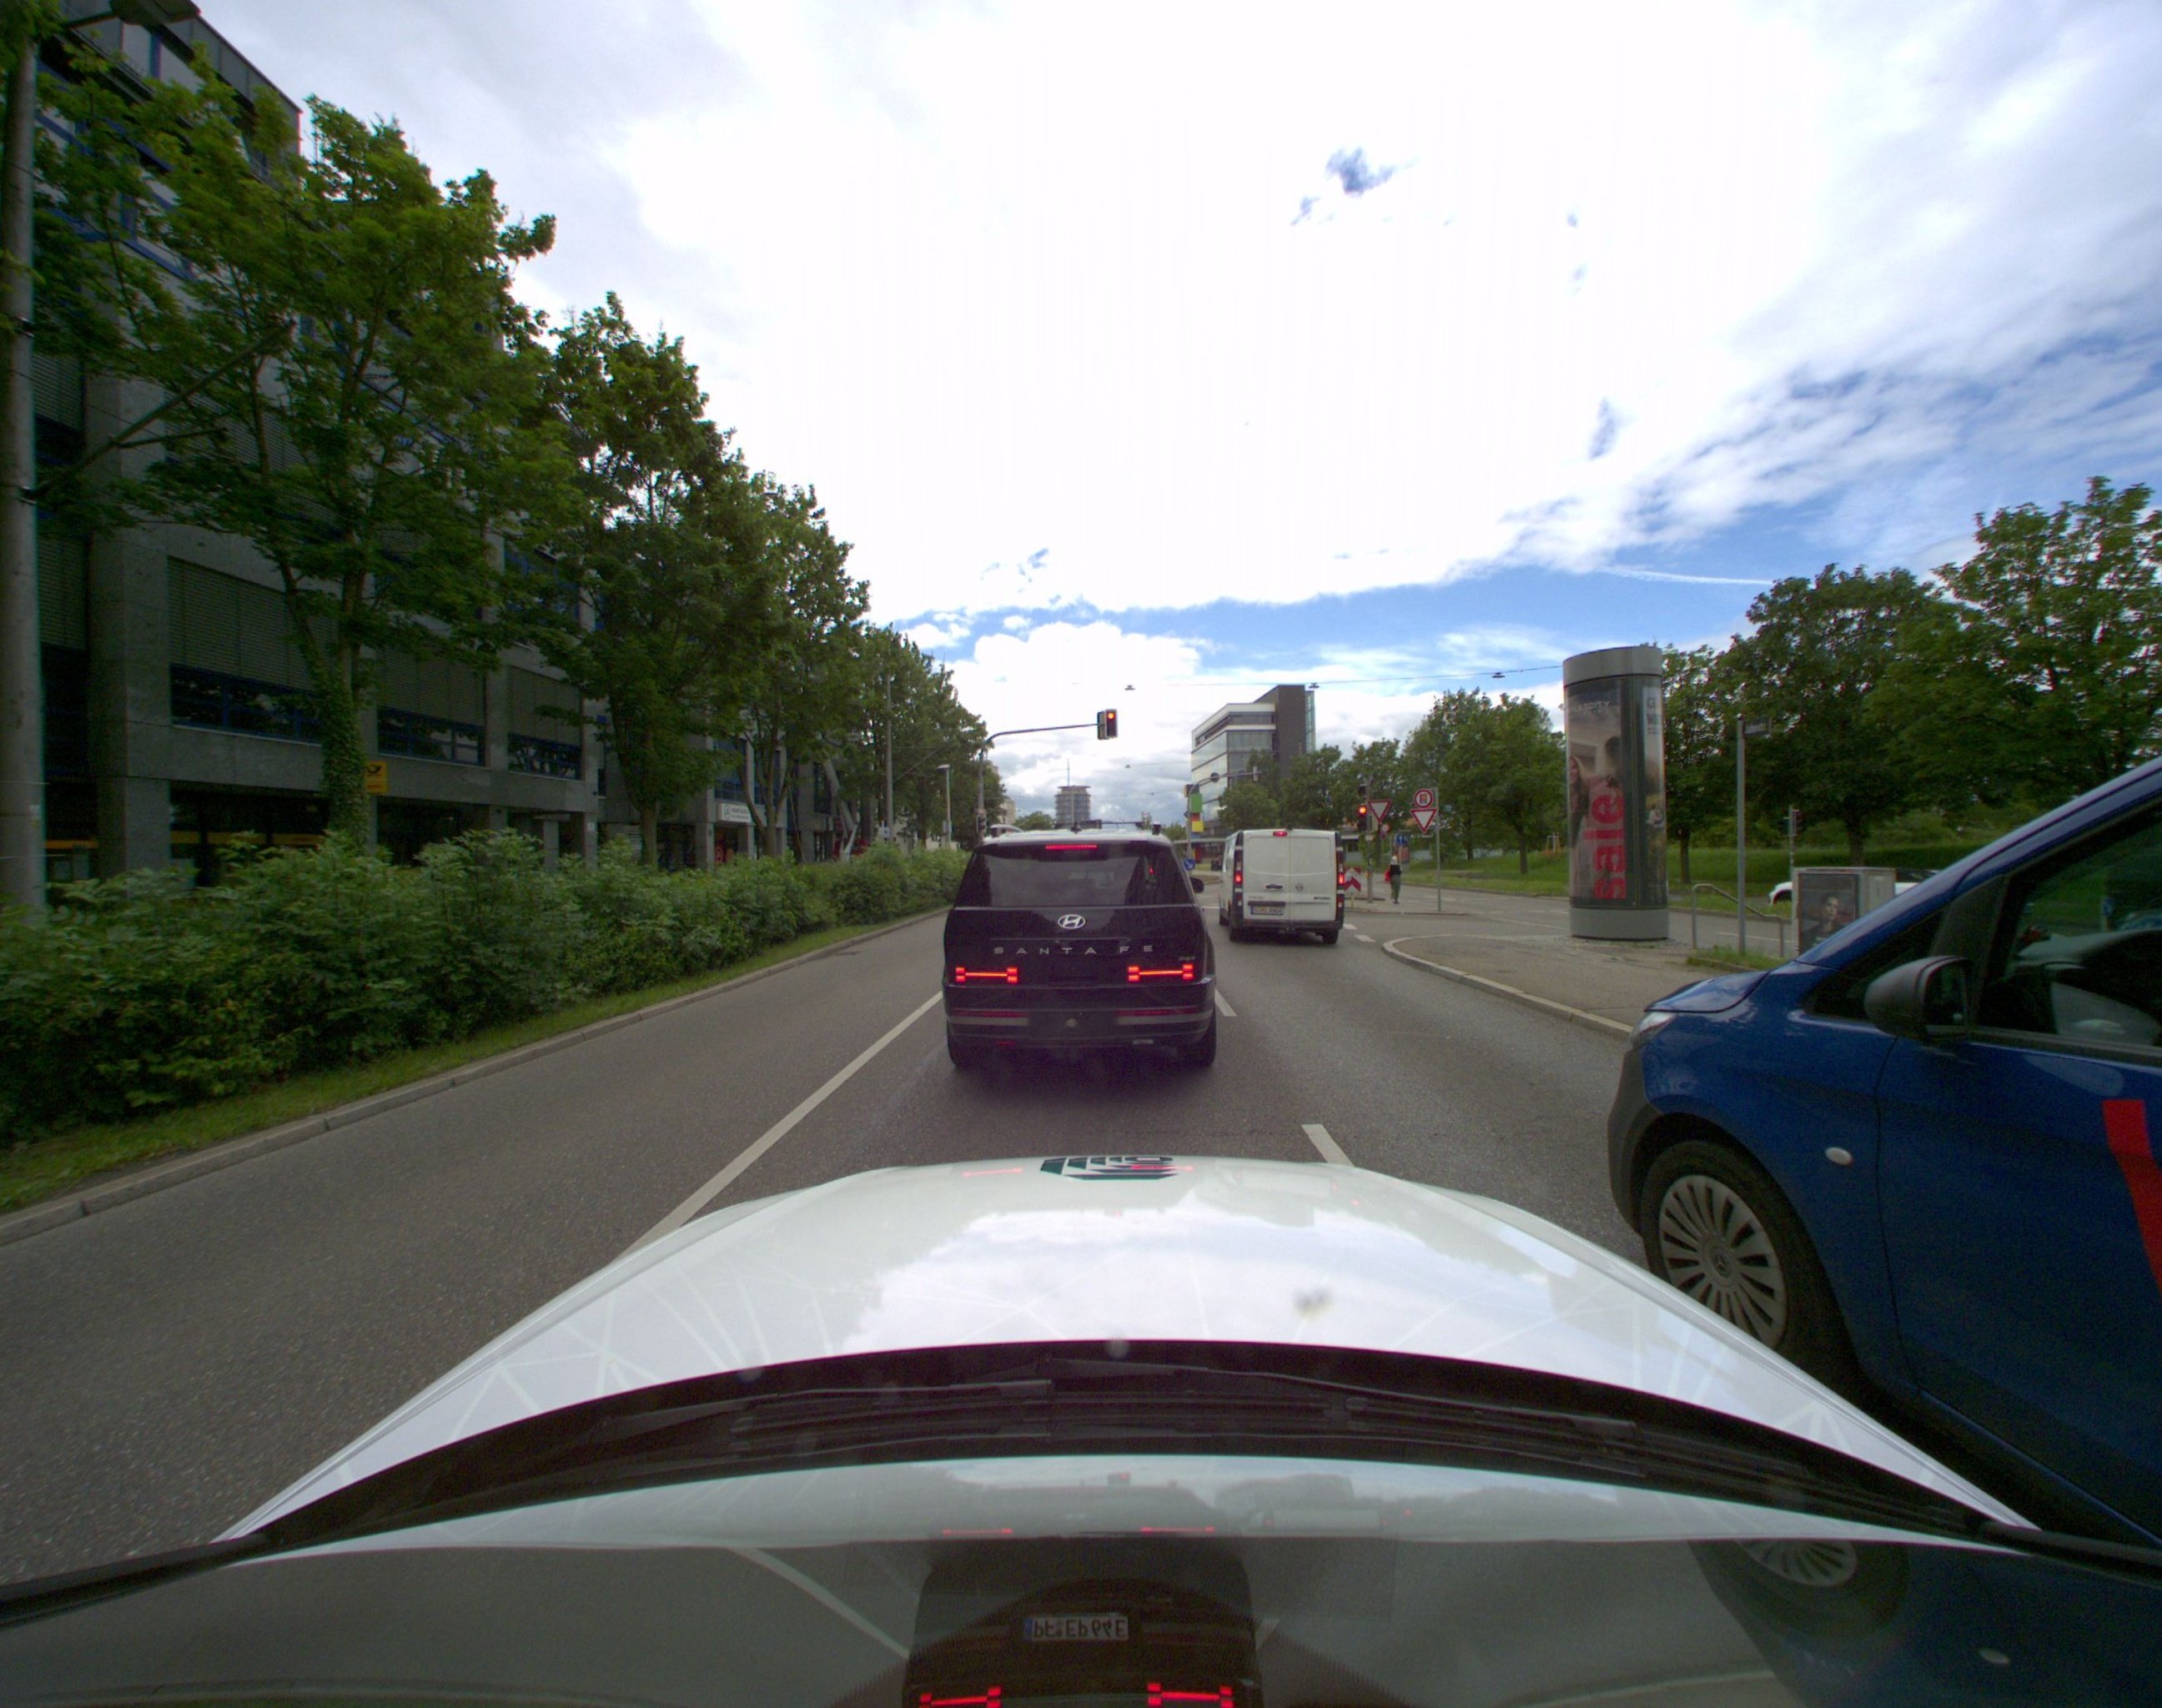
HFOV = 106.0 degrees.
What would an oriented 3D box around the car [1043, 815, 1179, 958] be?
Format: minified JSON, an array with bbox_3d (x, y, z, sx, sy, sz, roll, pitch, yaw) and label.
[{"bbox_3d":[0.491,0.470,13.615,1.908,2.003,3.881,-1,0,2],"label":"car"}]

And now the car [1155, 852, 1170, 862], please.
[{"bbox_3d":[13.167,0.506,131.711,1.987,1.684,3.998,-1,-1,-1],"label":"car"}]

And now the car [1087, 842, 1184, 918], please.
[{"bbox_3d":[1.493,0.615,20.590,1.764,1.717,4.353,-1,-1,12],"label":"car"}]

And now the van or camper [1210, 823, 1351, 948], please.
[{"bbox_3d":[3.589,0.513,15.489,1.983,2.013,4.660,-1,0,6],"label":"van or camper"}]

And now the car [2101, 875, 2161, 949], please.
[{"bbox_3d":[23.007,1.215,15.524,1.994,1.453,3.985,1,0,-11],"label":"car"}]

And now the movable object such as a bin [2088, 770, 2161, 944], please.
[{"bbox_3d":[26.261,0.005,15.505,2.860,3.903,8.536,-1,-1,-11],"label":"movable object such as a bin"}]

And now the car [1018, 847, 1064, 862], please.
[{"bbox_3d":[-4.645,0.045,94.076,5.271,1.596,1.997,-1,-1,-4],"label":"car"}]

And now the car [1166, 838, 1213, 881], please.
[{"bbox_3d":[5.361,0.266,40.565,1.985,2.014,4.003,-1,-1,3],"label":"car"}]

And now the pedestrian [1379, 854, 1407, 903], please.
[{"bbox_3d":[10.275,0.791,26.821,0.744,1.584,0.567,1,0,-38],"label":"pedestrian"}]

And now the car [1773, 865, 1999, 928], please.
[{"bbox_3d":[21.766,1.086,22.275,1.994,1.453,3.985,1,0,-11],"label":"car"}]

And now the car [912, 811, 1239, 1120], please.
[{"bbox_3d":[0.030,0.653,6.690,1.862,1.760,3.881,-1,0,2],"label":"car"}]

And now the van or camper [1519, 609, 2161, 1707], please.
[{"bbox_3d":[2.657,0.540,0.796,1.853,1.911,5.034,-1,0,2],"label":"van or camper"}]

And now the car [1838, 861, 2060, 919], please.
[{"bbox_3d":[25.101,0.992,23.773,1.994,1.453,3.985,1,0,-11],"label":"car"}]
